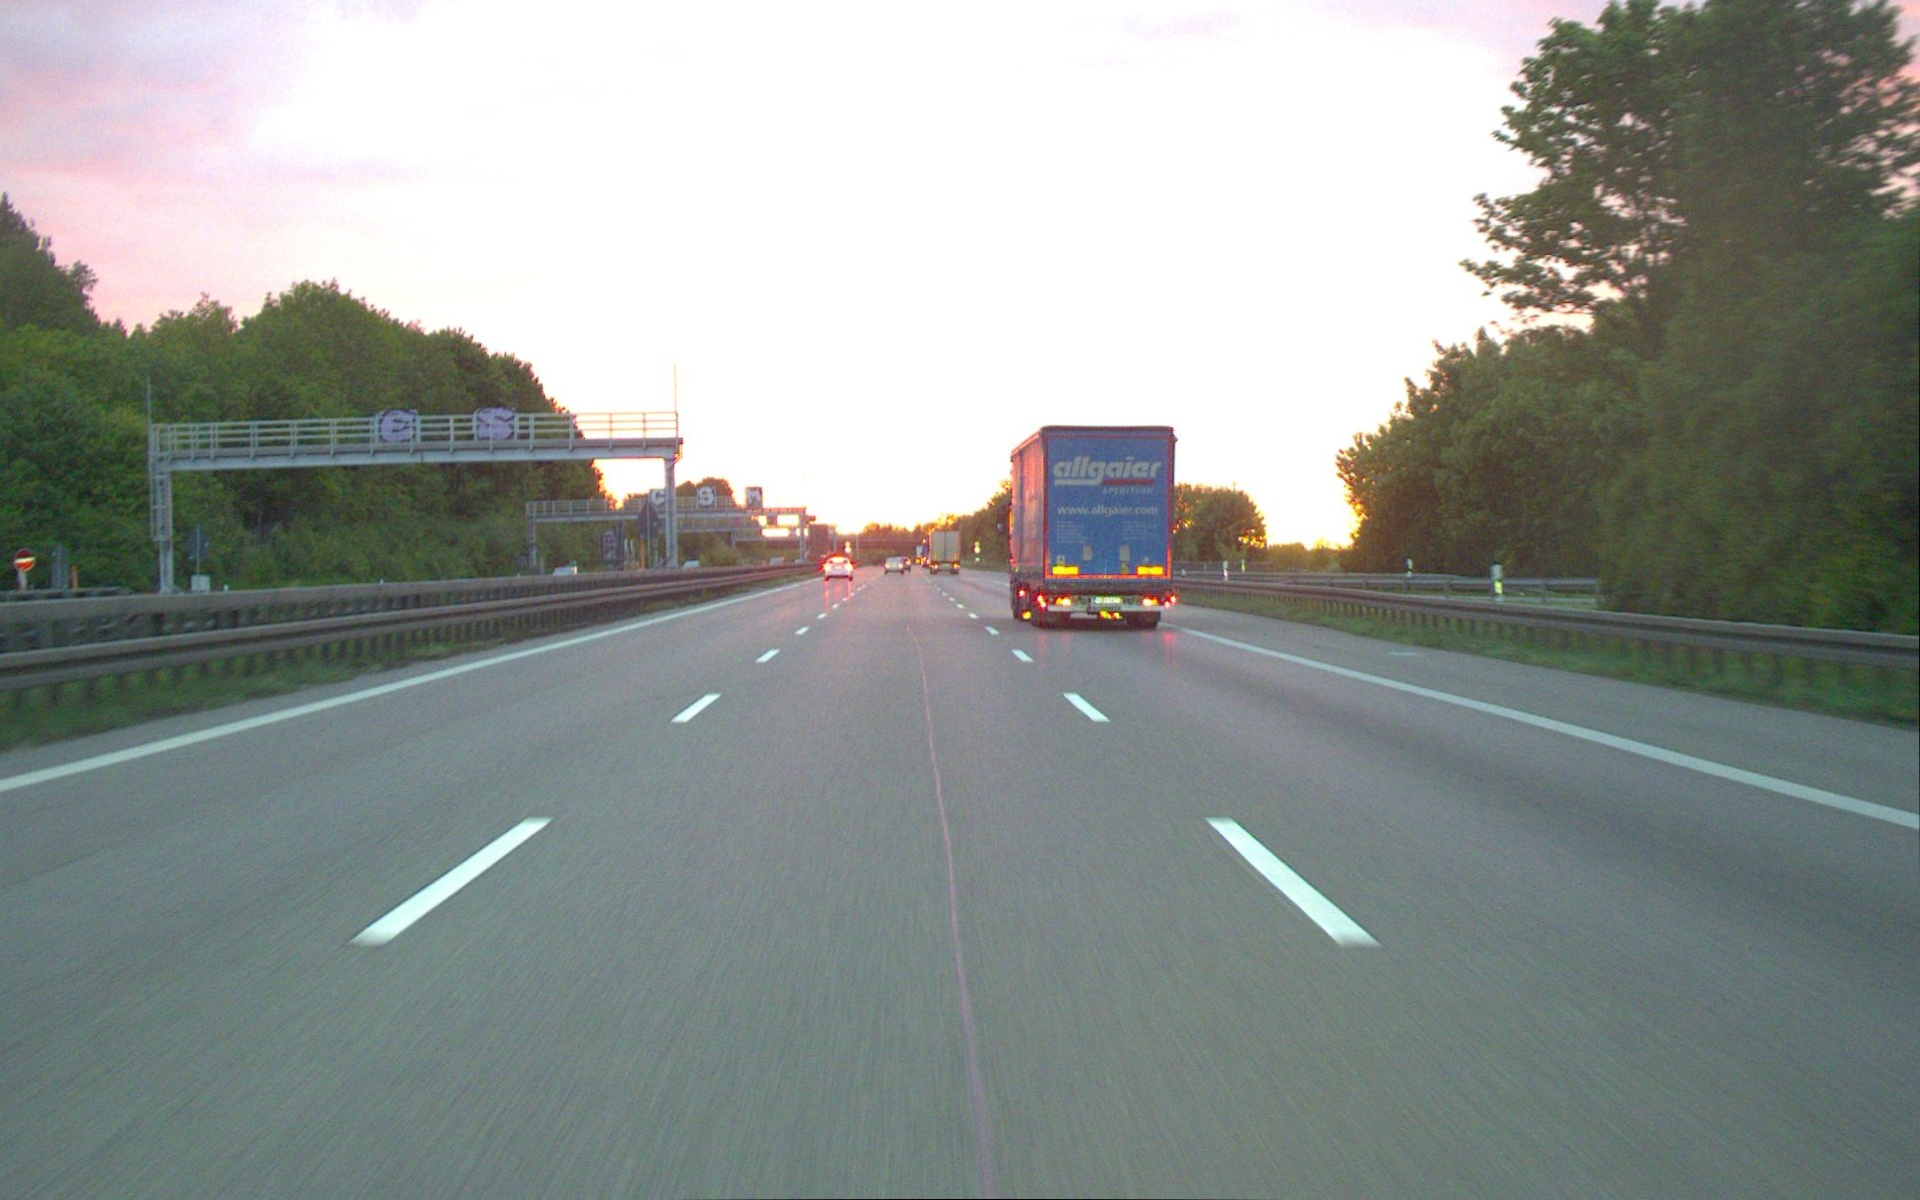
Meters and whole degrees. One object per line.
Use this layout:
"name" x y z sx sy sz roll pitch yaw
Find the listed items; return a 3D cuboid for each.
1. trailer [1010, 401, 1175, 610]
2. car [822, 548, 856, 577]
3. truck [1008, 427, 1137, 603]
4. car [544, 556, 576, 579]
"trailer" 2.700 -1.894 74.260 2.771 4.072 13.740 0 0 -1
"car" -7.721 -2.417 219.972 2.013 1.743 3.903 -3 1 -1
"truck" 2.599 -1.950 80.969 2.736 3.983 5.849 0 0 -1
"car" -24.587 -1.995 211.191 1.641 1.416 3.536 0 1 -1
